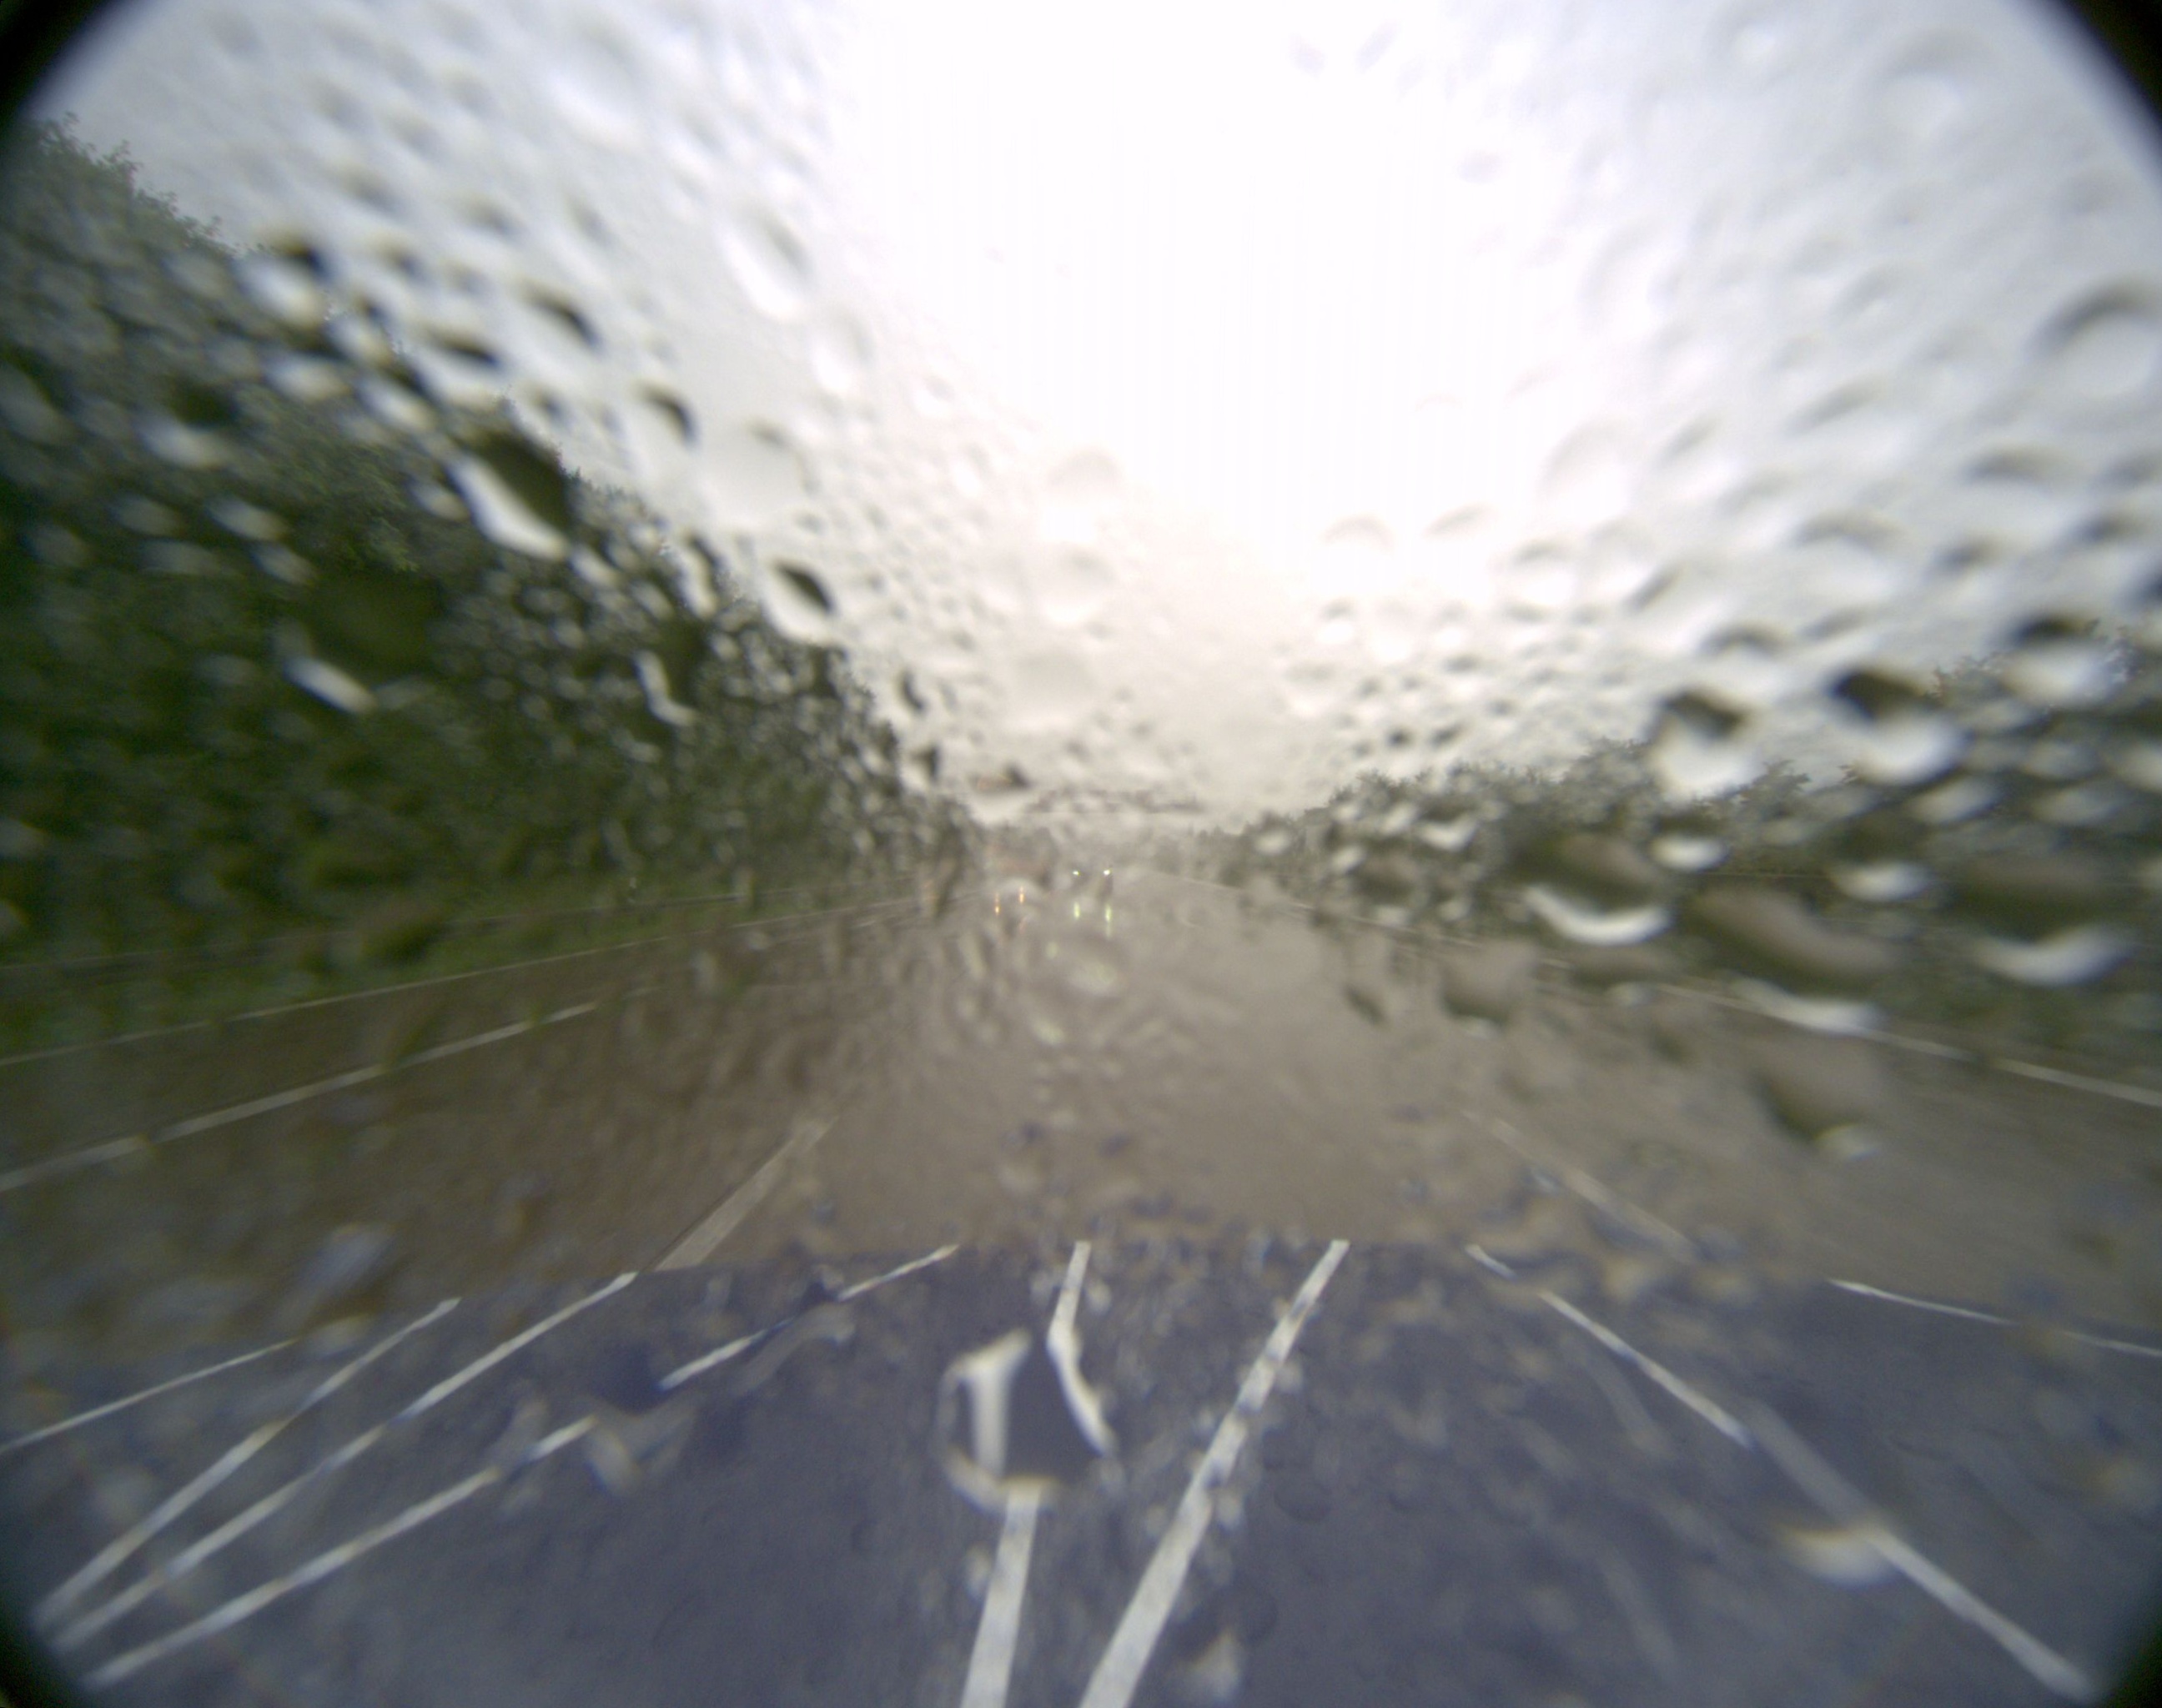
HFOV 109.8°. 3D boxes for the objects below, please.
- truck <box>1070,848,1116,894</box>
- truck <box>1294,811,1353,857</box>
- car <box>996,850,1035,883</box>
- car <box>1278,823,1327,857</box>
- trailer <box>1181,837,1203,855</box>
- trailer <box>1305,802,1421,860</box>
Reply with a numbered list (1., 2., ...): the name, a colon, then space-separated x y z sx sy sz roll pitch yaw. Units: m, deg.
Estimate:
1. truck: 0.536 0.723 37.186 1.998 2.002 7.575 -1 0 0
2. truck: 19.535 -1.541 61.560 2.821 3.489 5.730 -2 0 -1
3. car: -4.144 0.771 48.694 1.859 2.002 4.001 -2 0 3
4. car: 22.806 -1.399 78.582 2.805 3.224 7.601 -2 0 1
5. trailer: 23.901 -1.676 164.059 2.972 3.653 12.285 -2 0 1
6. trailer: 19.668 -1.511 54.364 2.859 3.522 13.705 -3 1 -1
